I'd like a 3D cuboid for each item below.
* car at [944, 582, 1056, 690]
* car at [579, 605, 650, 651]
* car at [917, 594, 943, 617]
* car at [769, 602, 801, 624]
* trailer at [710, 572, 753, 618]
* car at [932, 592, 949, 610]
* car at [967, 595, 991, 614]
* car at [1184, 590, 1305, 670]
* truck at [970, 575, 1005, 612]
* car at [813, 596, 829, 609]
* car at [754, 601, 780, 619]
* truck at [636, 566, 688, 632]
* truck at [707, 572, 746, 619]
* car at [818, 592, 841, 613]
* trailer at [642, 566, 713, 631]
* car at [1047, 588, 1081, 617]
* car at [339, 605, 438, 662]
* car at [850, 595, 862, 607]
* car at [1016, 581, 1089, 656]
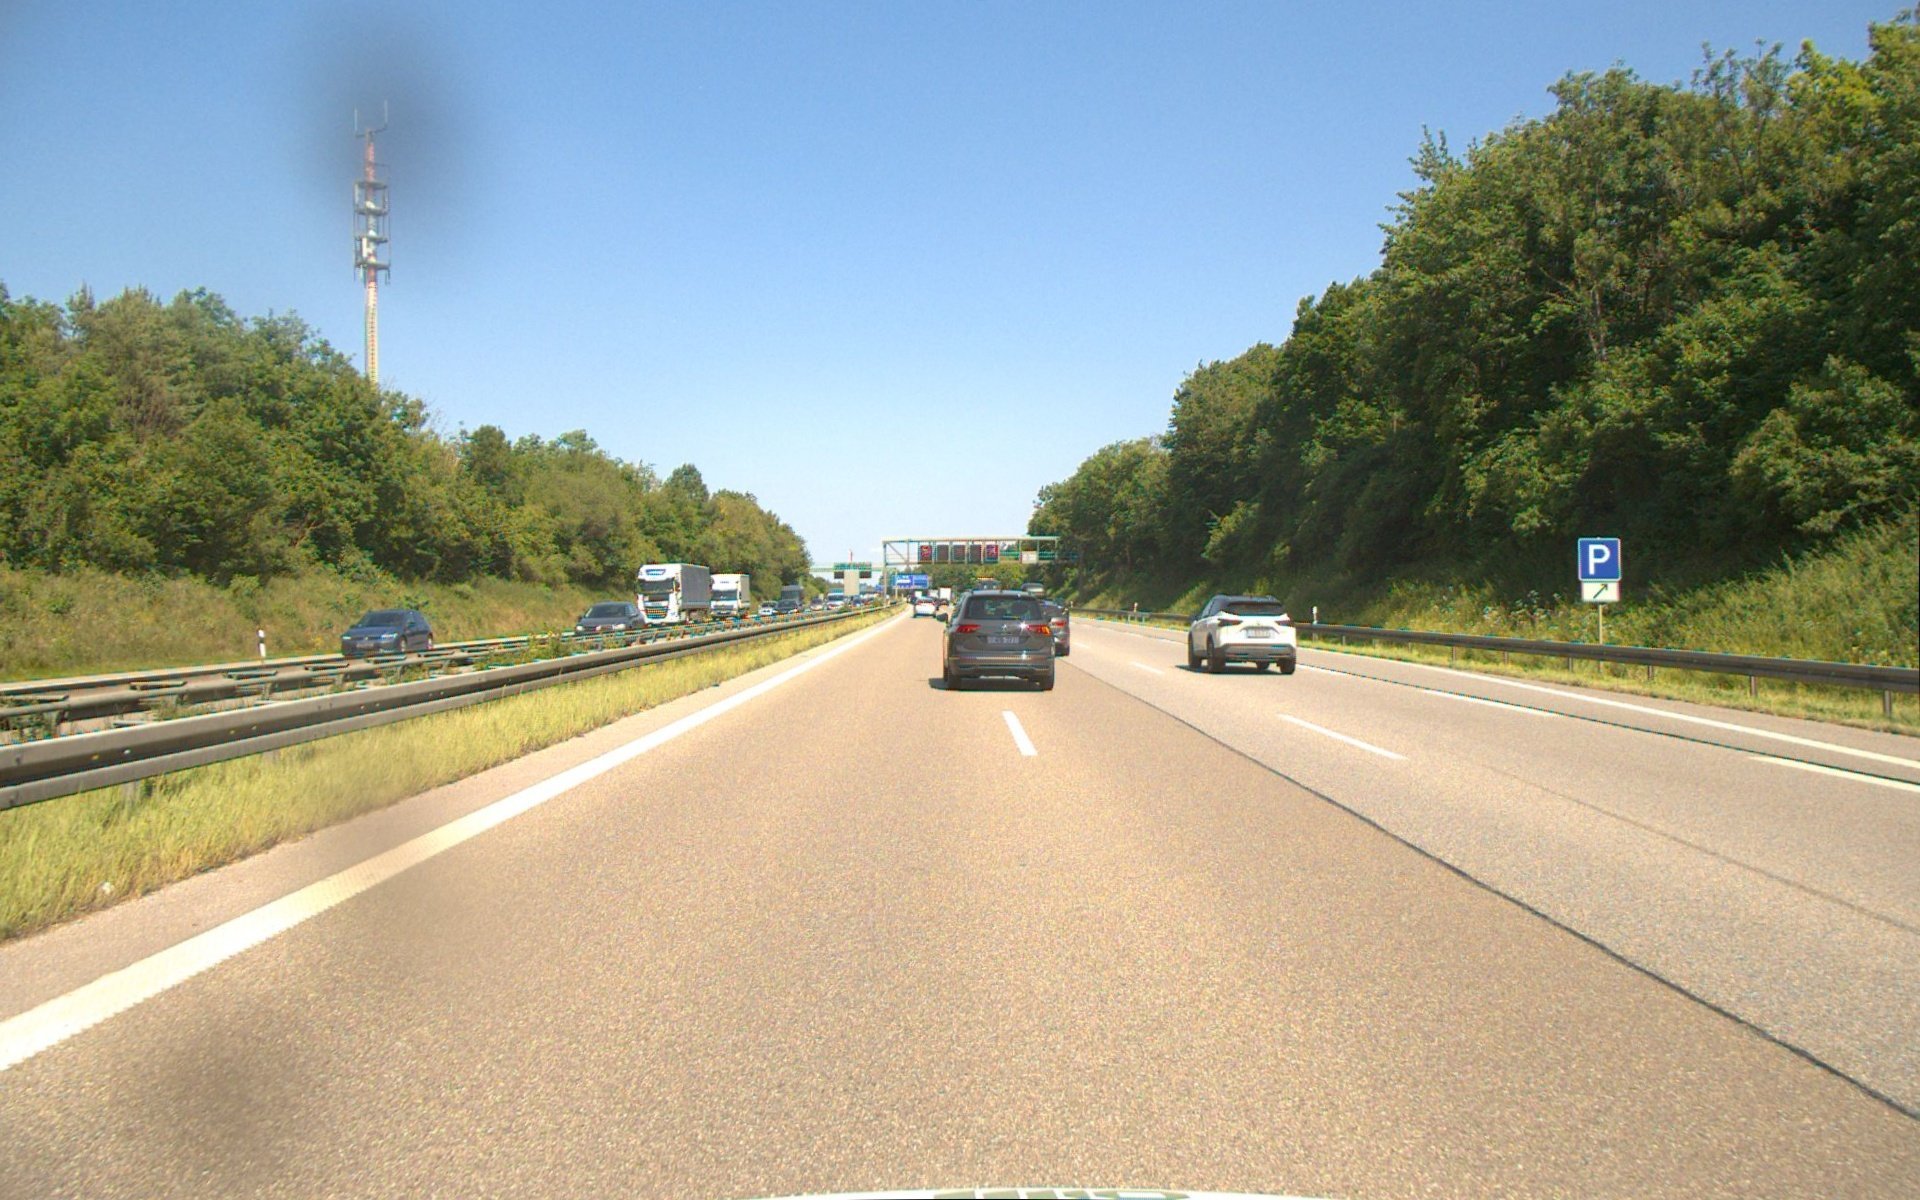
[{"bbox_3d":[0.662,0.573,28.602,1.762,1.698,4.258,1,0,0],"label":"car"},{"bbox_3d":[-11.160,0.871,53.660,1.455,1.380,4.416,-1,0,-1],"label":"car"},{"bbox_3d":[-2.220,0.410,123.493,1.728,1.595,4.258,1,0,0],"label":"car"},{"bbox_3d":[-11.891,0.886,112.537,1.770,1.430,4.818,-1,0,-1],"label":"car"},{"bbox_3d":[-19.919,-0.435,144.655,2.657,3.876,7.690,-2,0,-1],"label":"trailer"},{"bbox_3d":[-2.341,0.107,198.710,1.953,2.049,3.999,1,0,-2],"label":"car"},{"bbox_3d":[1.423,0.323,123.424,1.728,1.406,4.258,1,0,0],"label":"car"},{"bbox_3d":[6.074,0.616,35.779,1.806,1.595,4.034,1,0,-2],"label":"car"},{"bbox_3d":[3.466,-0.772,211.675,3.704,4.499,14.044,0,0,-2],"label":"truck"},{"bbox_3d":[-16.806,0.292,199.867,1.641,1.522,3.543,-1,0,-1],"label":"car"},{"bbox_3d":[-15.663,0.810,134.486,1.679,1.443,4.503,-1,0,-1],"label":"car"},{"bbox_3d":[-19.375,-0.060,107.646,2.562,4.129,3.999,-3,0,-1],"label":"truck"},{"bbox_3d":[-19.810,-0.373,140.345,2.648,3.876,3.999,-2,0,-1],"label":"truck"},{"bbox_3d":[-13.081,0.247,166.124,1.889,2.015,5.233,-3,0,-1],"label":"car"},{"bbox_3d":[-19.476,-0.096,114.876,2.562,4.129,14.165,-3,0,-1],"label":"trailer"},{"bbox_3d":[6.094,0.147,96.826,1.728,1.595,4.258,1,0,0],"label":"car"},{"bbox_3d":[-17.546,0.984,50.972,1.563,1.595,4.368,-3,0,-1],"label":"car"},{"bbox_3d":[-13.460,0.106,214.447,1.404,1.555,3.456,-1,0,-1],"label":"car"},{"bbox_3d":[2.478,0.474,45.204,1.631,1.909,4.826,-1,0,-1],"label":"car"}]
